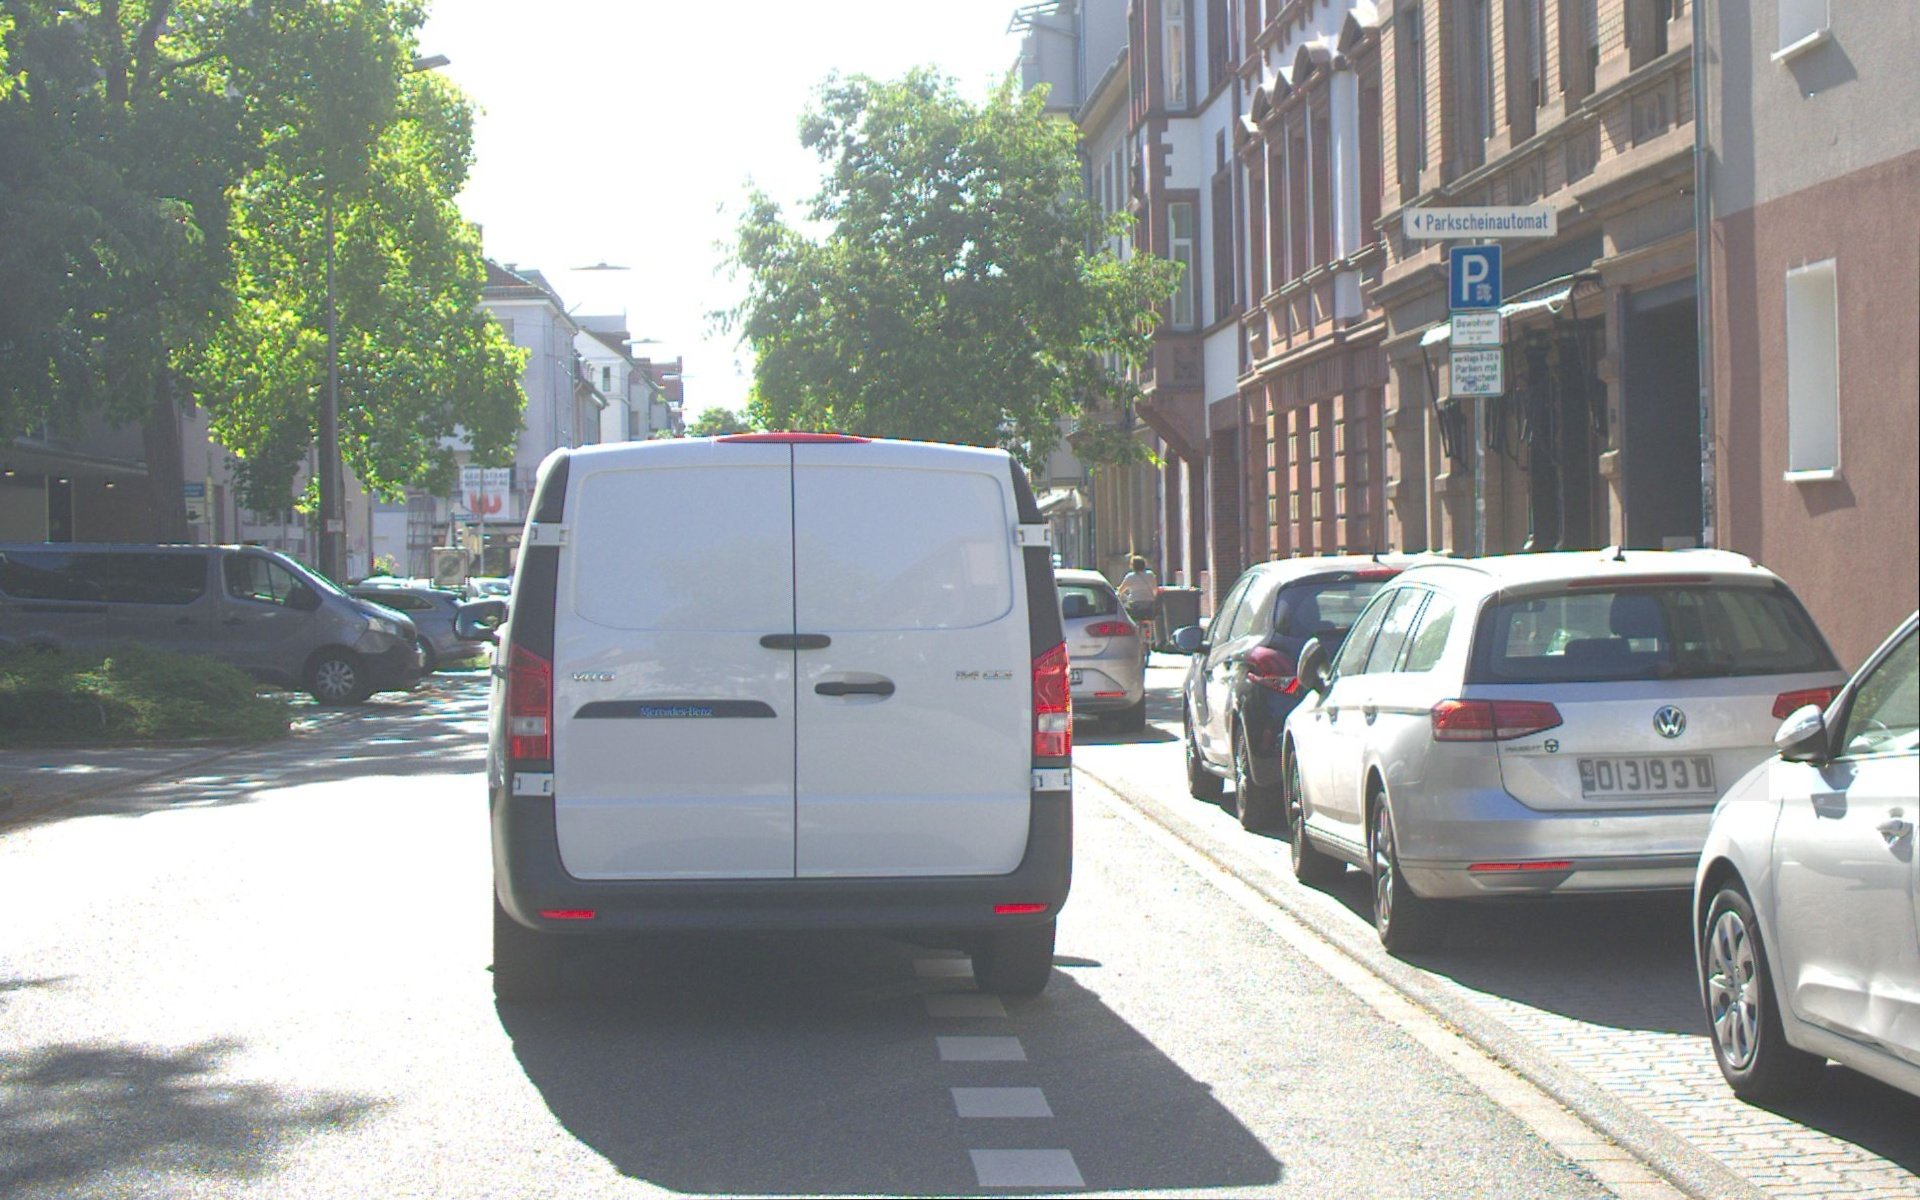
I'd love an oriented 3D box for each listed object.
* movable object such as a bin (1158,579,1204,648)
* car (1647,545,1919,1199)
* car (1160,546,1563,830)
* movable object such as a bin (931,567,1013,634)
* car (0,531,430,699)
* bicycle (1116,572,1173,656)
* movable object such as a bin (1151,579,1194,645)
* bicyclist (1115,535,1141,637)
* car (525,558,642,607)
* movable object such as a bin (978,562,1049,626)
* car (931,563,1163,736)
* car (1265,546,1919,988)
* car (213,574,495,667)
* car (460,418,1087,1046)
[{"bbox_3d":[3.527,0.210,54.800,0.638,1.065,0.639,-1,1,-3],"label":"movable object such as a bin"},{"bbox_3d":[2.994,0.600,7.990,1.731,1.481,3.795,-3,1,-4],"label":"car"},{"bbox_3d":[2.243,0.447,20.094,1.709,1.475,3.711,-1,1,-3],"label":"car"},{"bbox_3d":[0.252,0.012,71.789,1.268,1.343,1.108,-2,1,-45],"label":"movable object such as a bin"},{"bbox_3d":[-9.246,0.168,42.040,5.291,1.967,2.016,0,0,-3],"label":"car"},{"bbox_3d":[2.681,0.207,50.232,0.536,1.145,2.124,-7,0,-1],"label":"bicycle"},{"bbox_3d":[3.458,0.196,55.954,0.630,1.065,0.640,0,0,-2],"label":"movable object such as a bin"},{"bbox_3d":[2.444,-0.203,50.041,0.361,1.472,0.530,0,0,0],"label":"bicyclist"},{"bbox_3d":[-13.073,-0.603,119.394,3.986,1.634,2.000,-1,1,-6],"label":"car"},{"bbox_3d":[1.134,-0.130,73.056,1.040,1.343,1.106,-1,1,36],"label":"movable object such as a bin"},{"bbox_3d":[0.726,0.397,31.377,1.738,1.446,4.001,-1,1,-4],"label":"car"},{"bbox_3d":[2.400,0.550,14.071,1.785,1.455,4.517,-2,1,-1],"label":"car"},{"bbox_3d":[-9.854,0.323,56.131,4.305,1.455,1.762,1,0,-1],"label":"car"},{"bbox_3d":[-0.915,0.367,12.990,1.920,1.907,4.889,0,1,-8],"label":"car"}]
